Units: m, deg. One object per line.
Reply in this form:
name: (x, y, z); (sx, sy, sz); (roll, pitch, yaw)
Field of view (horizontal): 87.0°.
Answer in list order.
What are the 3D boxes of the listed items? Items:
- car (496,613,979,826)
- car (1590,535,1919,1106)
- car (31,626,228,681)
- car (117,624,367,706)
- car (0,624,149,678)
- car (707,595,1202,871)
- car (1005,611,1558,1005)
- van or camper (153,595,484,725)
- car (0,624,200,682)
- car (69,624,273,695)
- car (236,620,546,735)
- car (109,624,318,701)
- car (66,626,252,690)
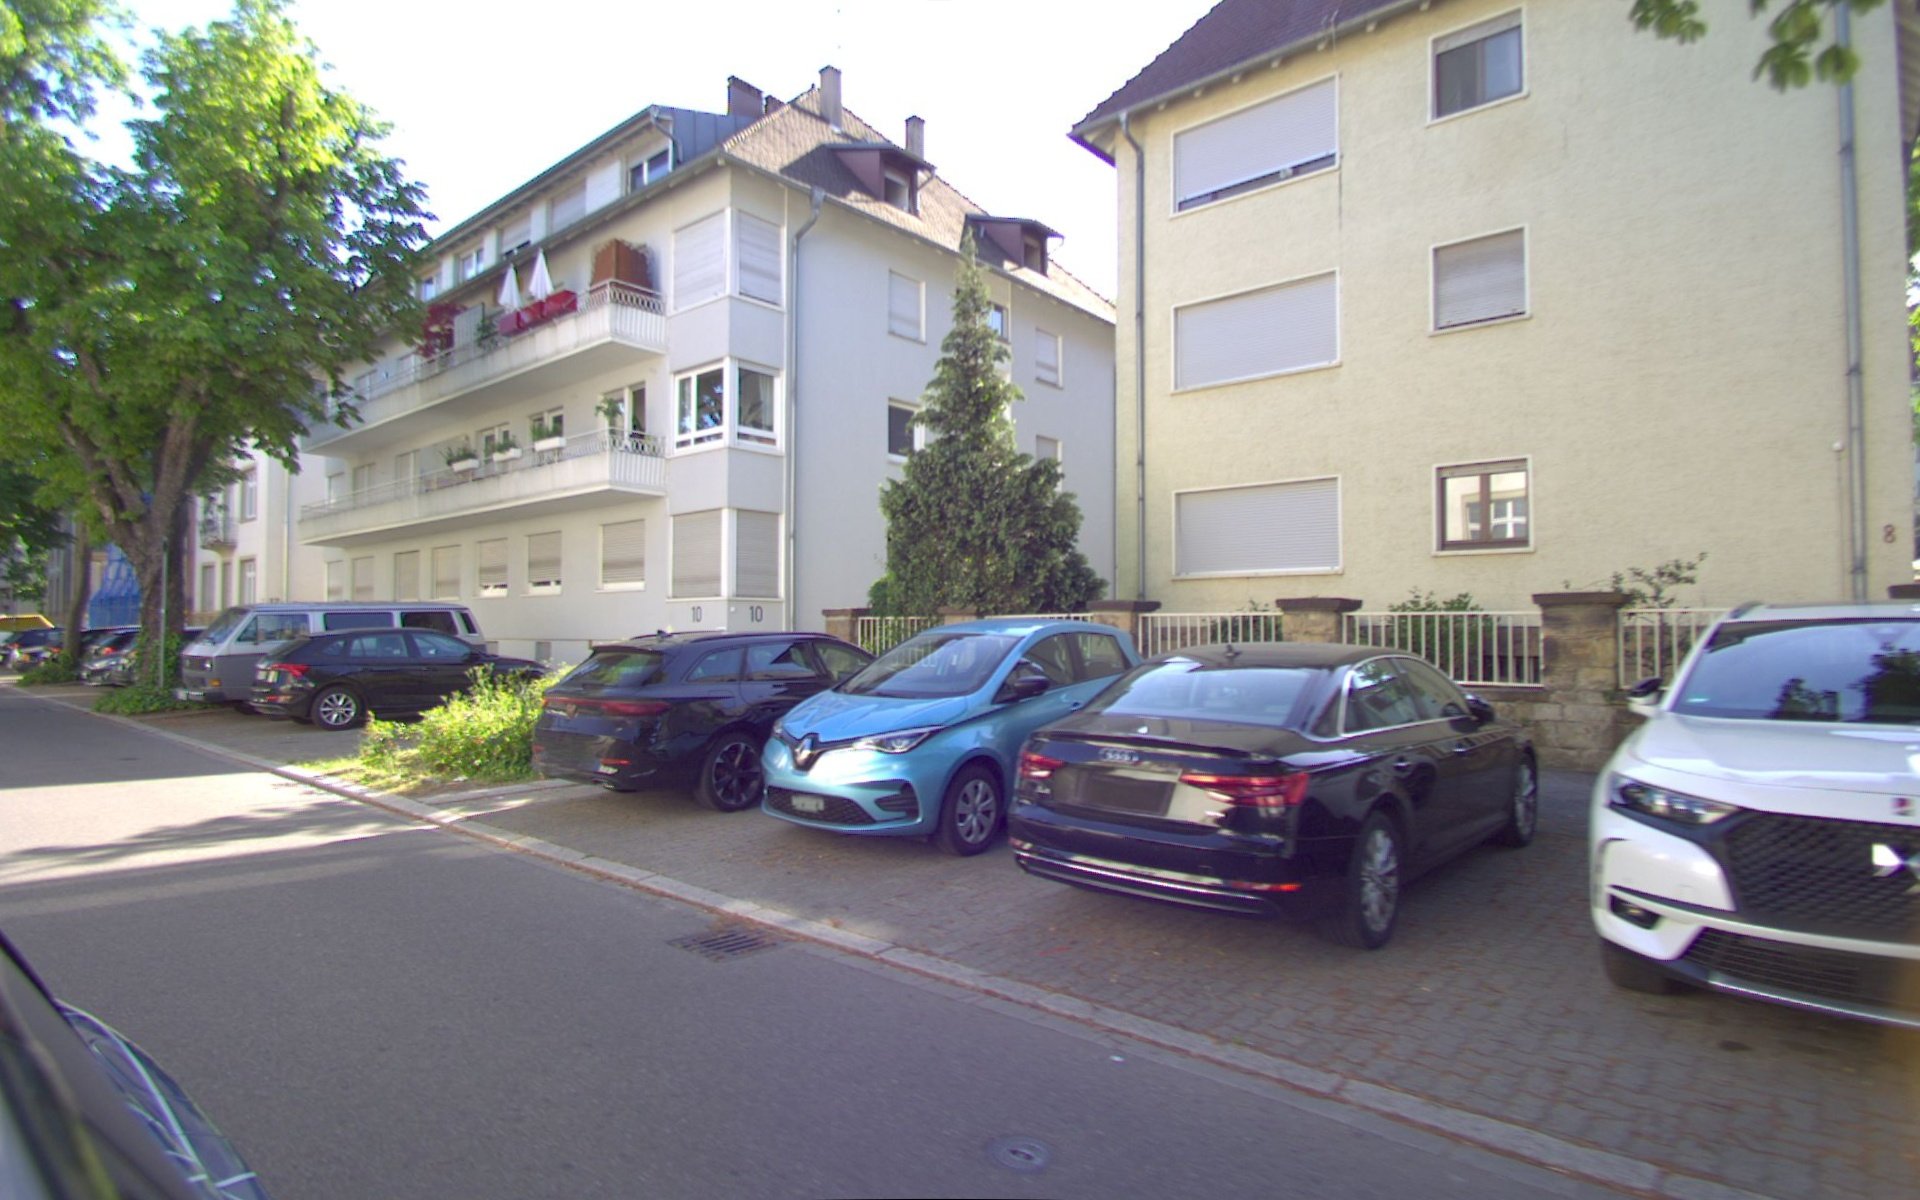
car: (-1.826, 0.919, 9.419); (1.860, 1.510, 4.145); (-1, -2, 39)
car: (4.326, 0.662, 4.507); (1.822, 1.665, 4.339); (-4, -3, 41)
car: (-23.901, 1.499, 29.250); (1.711, 1.452, 4.145); (-1, -2, 39)
car: (-14.664, 1.267, 20.844); (1.713, 1.425, 3.884); (-2, -1, 38)
car: (-29.601, 1.628, 33.574); (1.827, 1.525, 3.841); (-1, 1, 32)
car: (0.189, 0.840, 8.035); (1.876, 1.604, 3.947); (-1, -2, 39)
car: (2.127, 0.848, 5.893); (1.696, 1.479, 3.946); (-1, -2, 40)
van or camper: (-10.895, 0.949, 17.459); (1.963, 1.929, 4.450); (-1, -2, 40)
car: (-26.108, 1.554, 30.721); (1.831, 1.619, 4.544); (-1, -2, 38)
car: (-18.742, 1.354, 24.137); (1.710, 1.474, 3.604); (-1, 0, 43)
car: (-8.735, 1.098, 15.775); (1.662, 1.510, 3.902); (-2, -1, 43)
car: (-16.498, 1.309, 22.467); (1.797, 1.469, 3.441); (-1, 0, 42)
car: (-20.605, 1.442, 26.139); (1.707, 1.431, 3.448); (0, 0, 36)
